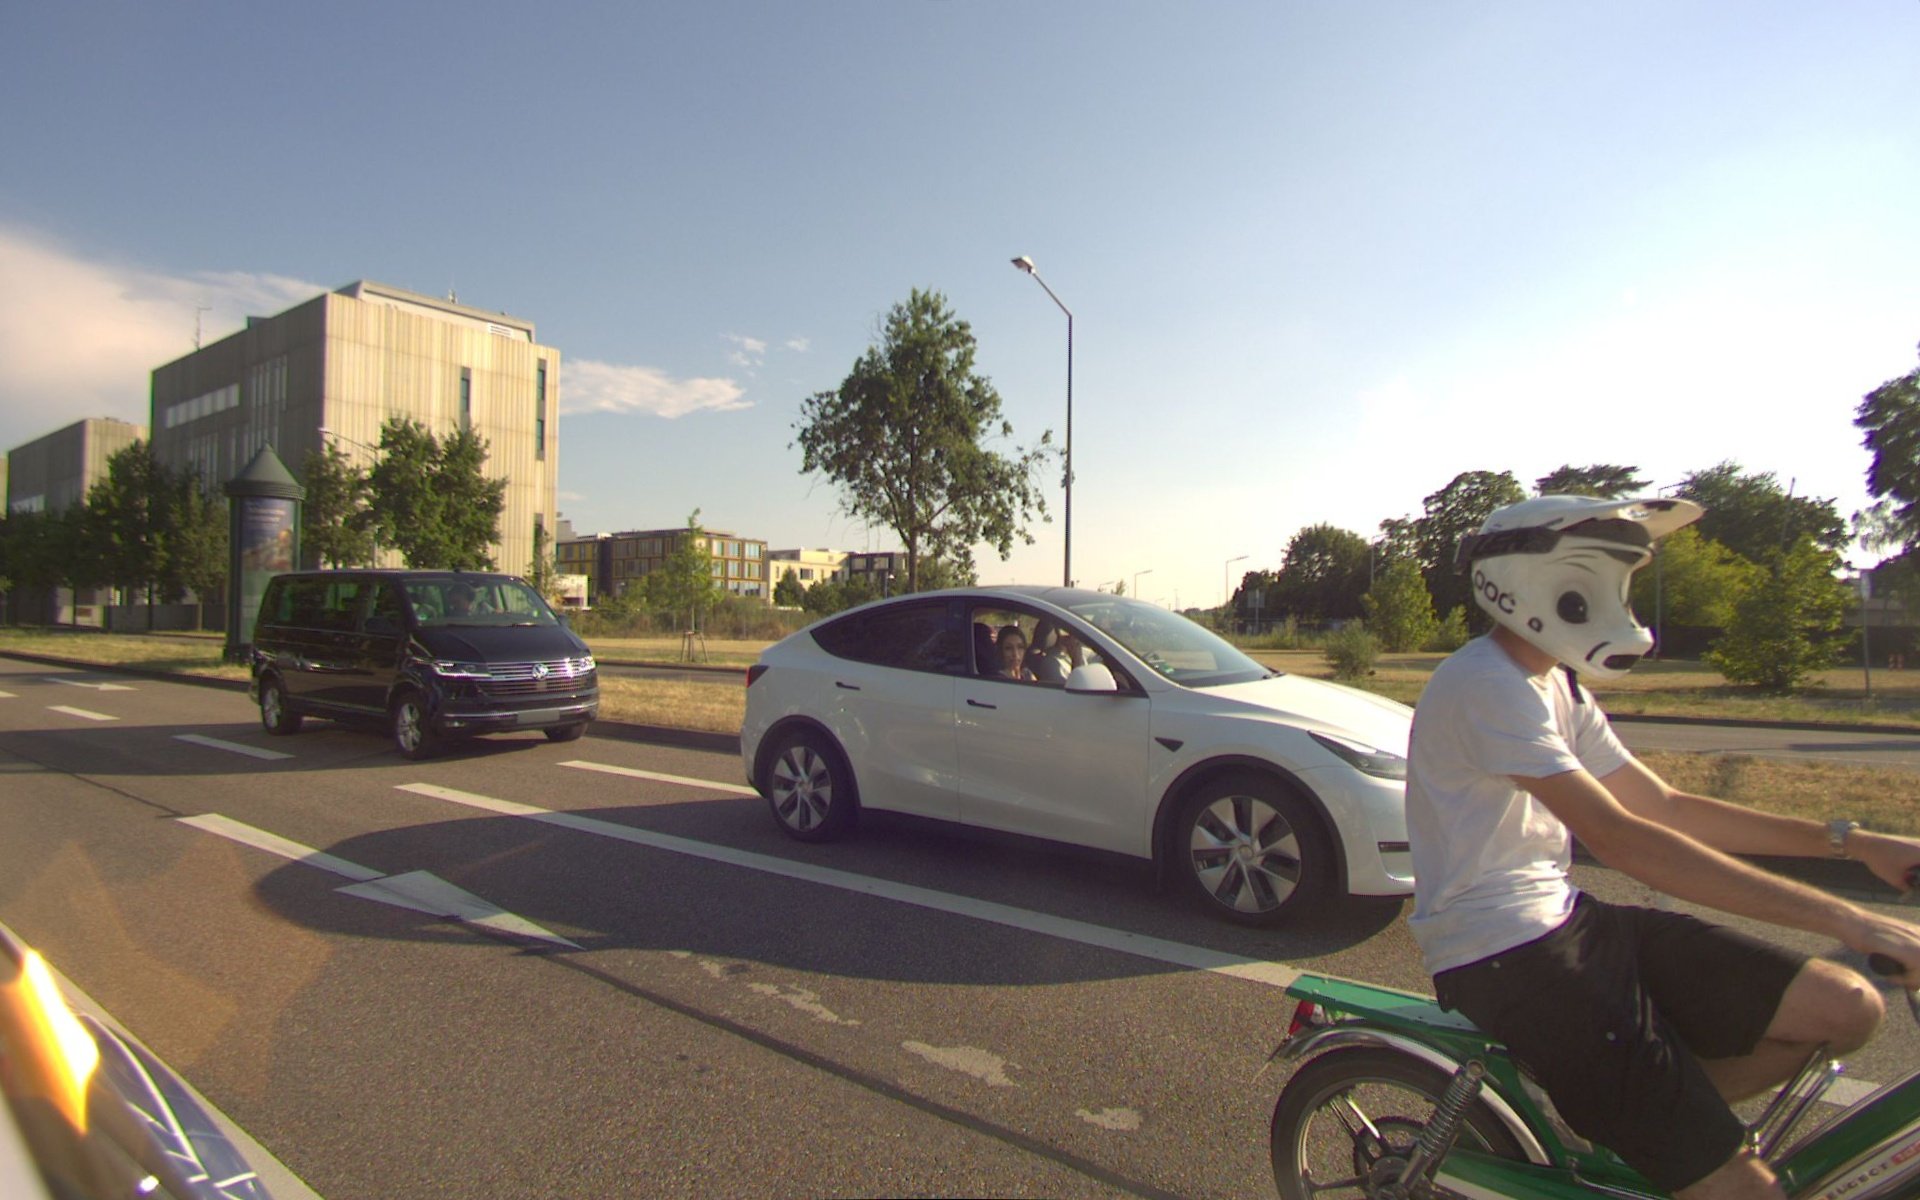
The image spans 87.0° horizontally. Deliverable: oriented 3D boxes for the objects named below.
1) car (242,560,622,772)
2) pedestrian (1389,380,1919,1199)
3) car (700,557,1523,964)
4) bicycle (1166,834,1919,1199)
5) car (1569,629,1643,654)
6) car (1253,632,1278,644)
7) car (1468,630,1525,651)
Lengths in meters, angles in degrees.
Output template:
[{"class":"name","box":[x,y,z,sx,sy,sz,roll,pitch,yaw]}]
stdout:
[{"class":"car","box":[-6.170,0.628,11.560,5.003,1.947,1.839,-1,-1,36]},{"class":"pedestrian","box":[1.288,0.487,1.730,0.854,1.530,0.649,-1,-3,41]},{"class":"car","box":[0.624,0.674,6.112,4.669,1.611,1.719,-1,-1,37]},{"class":"bicycle","box":[1.271,0.983,1.631,1.855,0.882,0.472,-1,-3,41]},{"class":"car","box":[42.649,2.720,66.925,1.631,1.537,4.407,0,-2,-6]},{"class":"car","box":[32.016,3.974,106.038,1.315,1.302,2.810,1,-2,-10]},{"class":"car","box":[40.760,3.046,77.032,1.631,1.537,4.407,0,-2,-6]}]
